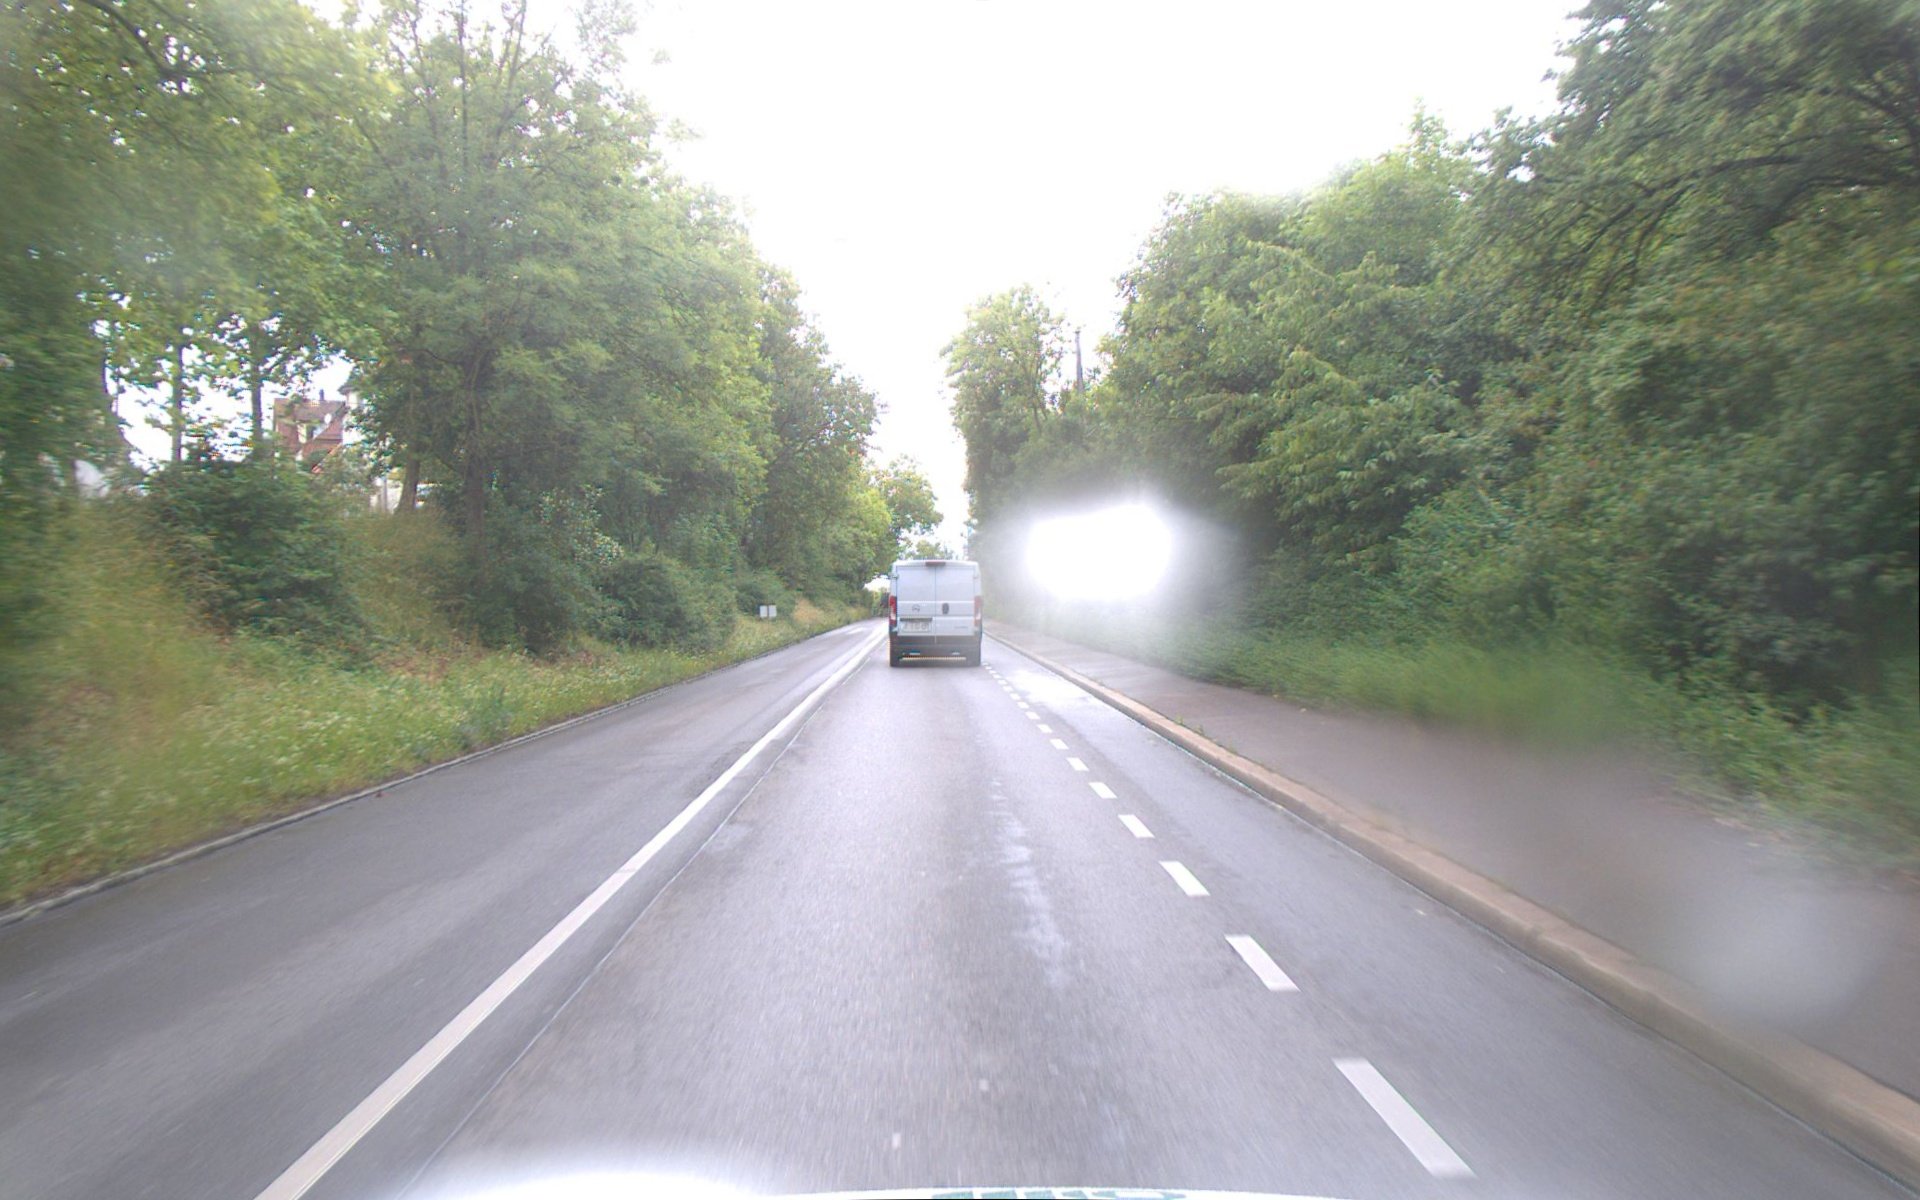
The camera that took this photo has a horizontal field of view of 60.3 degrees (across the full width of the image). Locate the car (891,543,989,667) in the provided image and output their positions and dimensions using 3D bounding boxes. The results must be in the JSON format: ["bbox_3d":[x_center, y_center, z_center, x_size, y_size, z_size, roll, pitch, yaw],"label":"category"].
[{"bbox_3d":[-0.456,0.078,37.236,2.008,2.560,4.943,2,0,-1],"label":"car"}]
